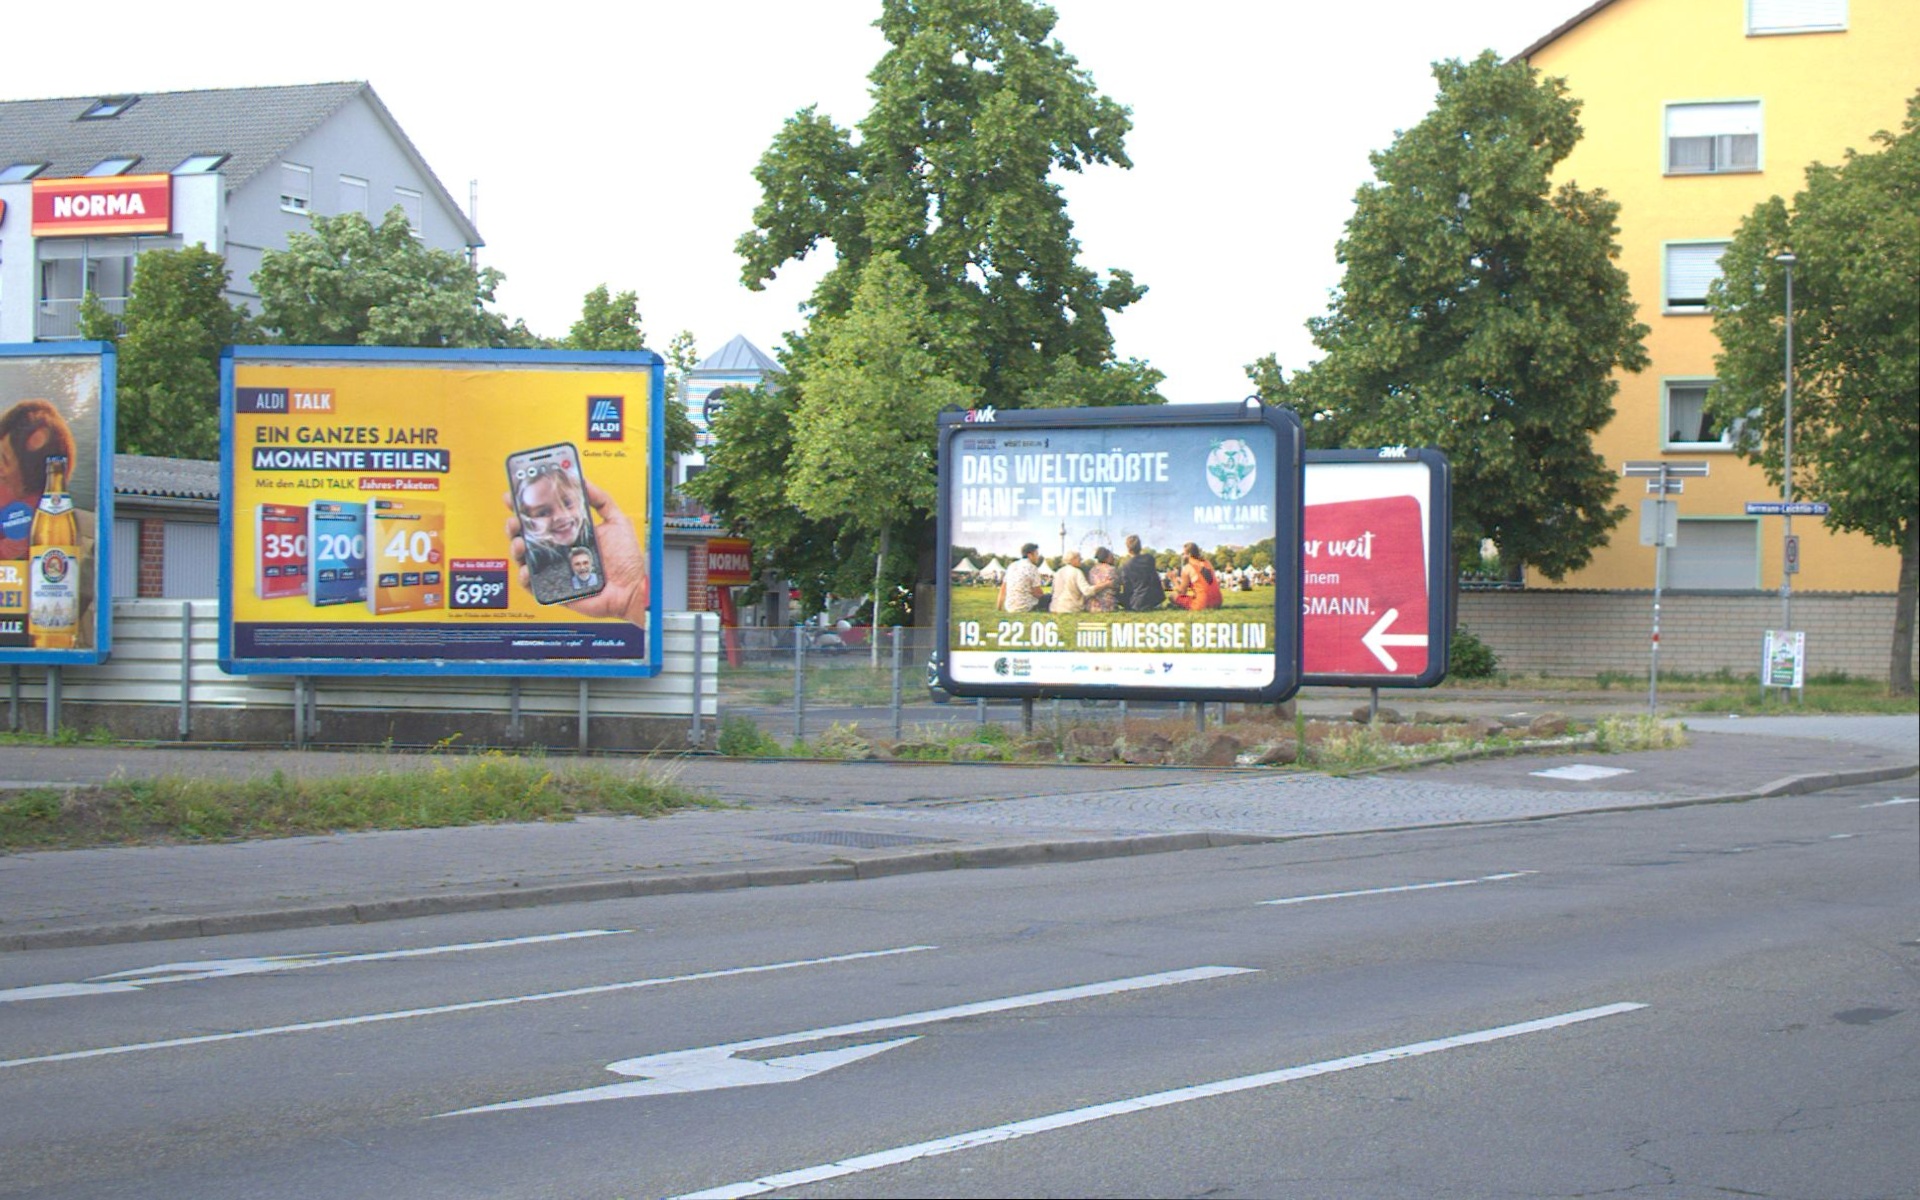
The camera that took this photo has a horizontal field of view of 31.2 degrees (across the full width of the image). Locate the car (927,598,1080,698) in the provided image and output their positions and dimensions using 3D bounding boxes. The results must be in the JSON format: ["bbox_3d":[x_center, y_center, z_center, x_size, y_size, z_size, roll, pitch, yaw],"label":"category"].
[{"bbox_3d":[0.799,0.820,60.392,1.648,1.586,3.898,0,2,17],"label":"car"}]
